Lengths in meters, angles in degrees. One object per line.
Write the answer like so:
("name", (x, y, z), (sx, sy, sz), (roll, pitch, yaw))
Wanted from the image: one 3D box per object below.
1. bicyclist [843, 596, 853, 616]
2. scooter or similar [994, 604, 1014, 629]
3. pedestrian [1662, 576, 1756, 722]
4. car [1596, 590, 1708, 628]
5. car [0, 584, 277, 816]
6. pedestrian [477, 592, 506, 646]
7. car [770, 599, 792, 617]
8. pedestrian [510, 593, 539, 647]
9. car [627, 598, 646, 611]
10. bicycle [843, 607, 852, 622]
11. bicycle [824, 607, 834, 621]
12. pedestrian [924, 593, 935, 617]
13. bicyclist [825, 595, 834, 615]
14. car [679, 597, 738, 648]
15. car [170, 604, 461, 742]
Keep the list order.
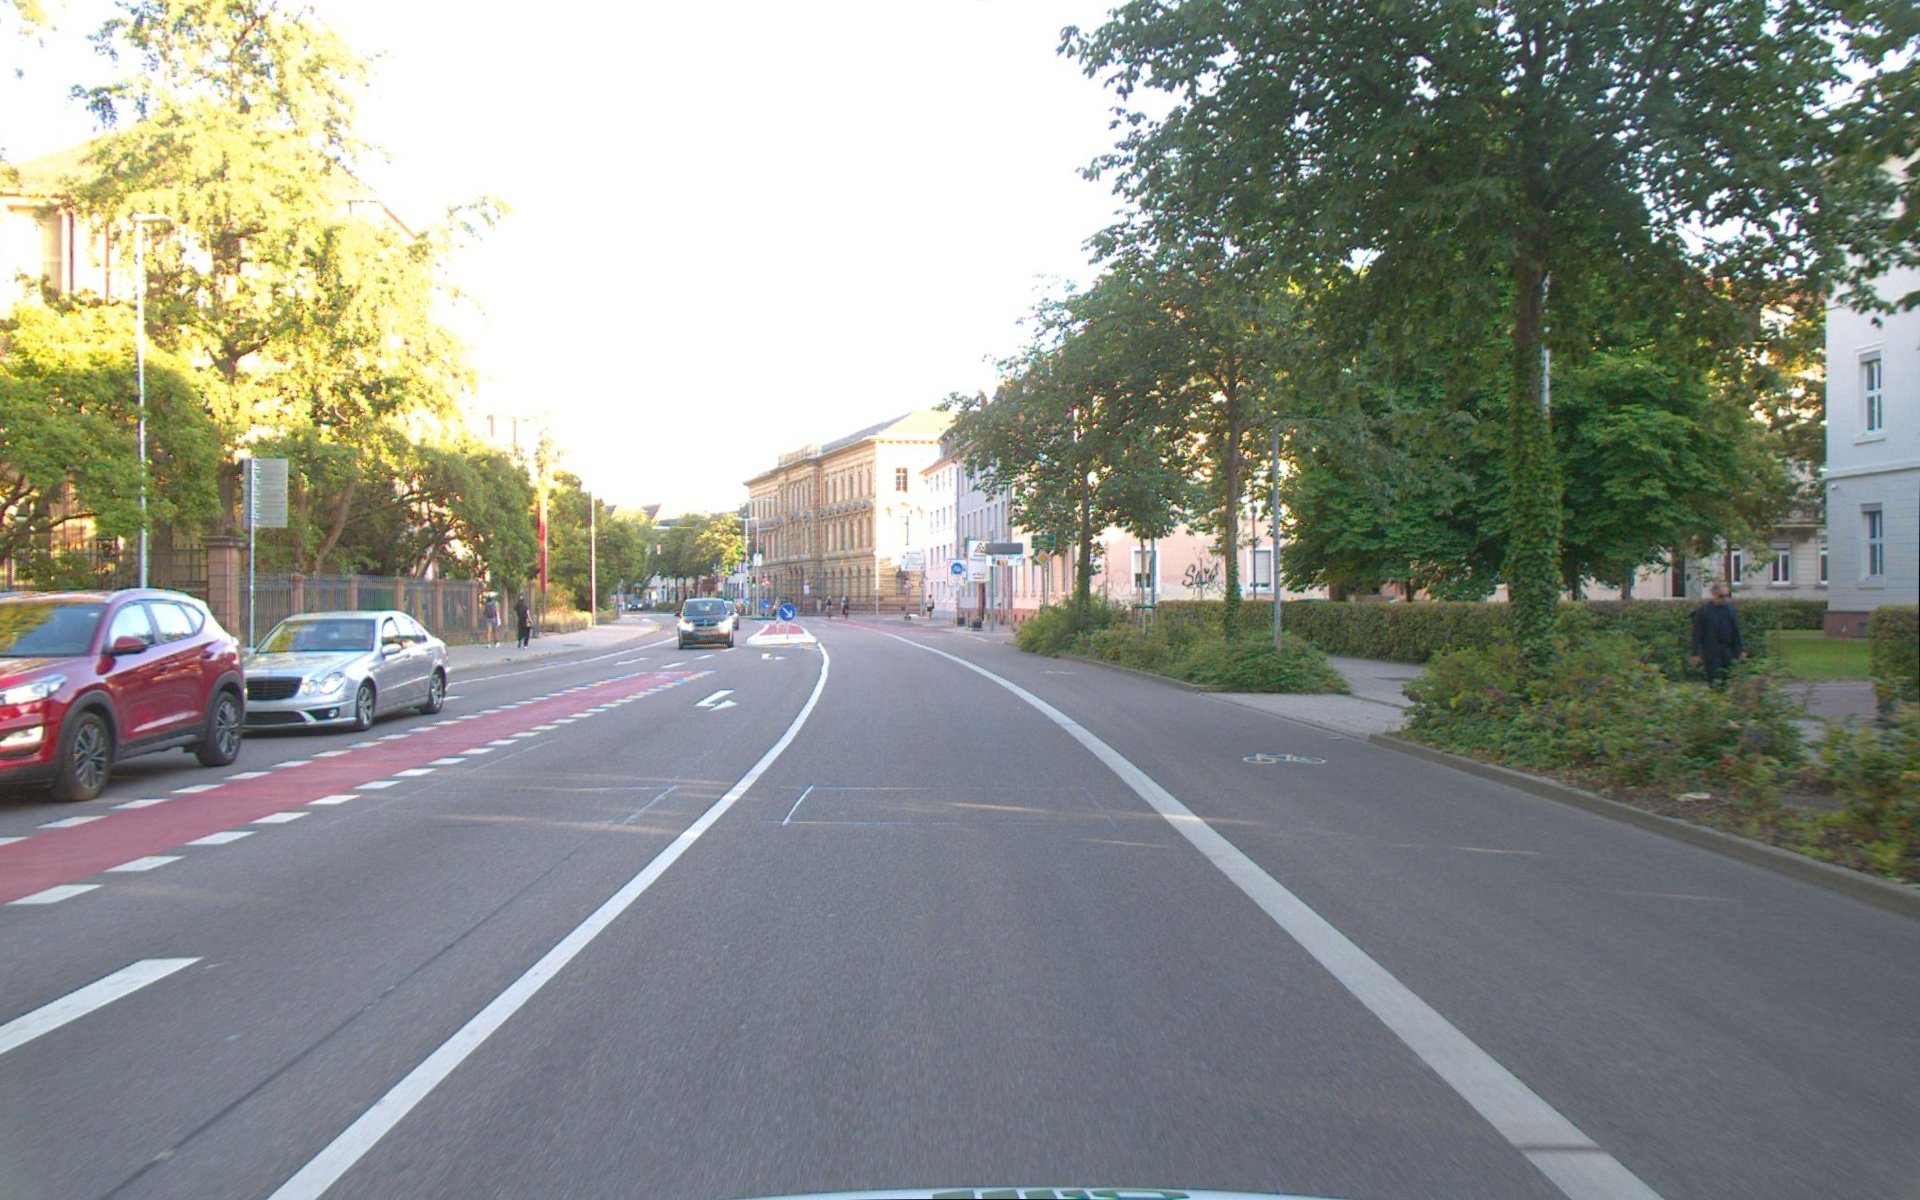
("bicyclist", (-8.423, 0.464, 124.450), (0.639, 1.501, 0.940), (2, 0, -5))
("scooter or similar", (2.513, 0.926, 94.053), (0.618, 1.360, 2.394), (0, 0, -11))
("pedestrian", (9.267, 0.591, 20.480), (0.755, 1.769, 0.806), (0, 0, -7))
("car", (30.811, 0.388, 73.688), (4.155, 1.507, 1.871), (-2, 0, 0))
("car", (-7.721, 0.745, 14.151), (1.878, 1.653, 4.637), (-2, 0, -2))
("pedestrian", (-14.620, 0.588, 51.609), (0.666, 1.651, 0.689), (0, 0, 2))
("car", (-15.661, 0.700, 144.547), (1.832, 1.536, 3.993), (1, 0, -8))
("pedestrian", (-13.573, 0.620, 51.552), (0.666, 1.651, 0.689), (0, 0, 6))
("car", (-40.423, 0.539, 206.650), (1.955, 1.613, 3.995), (0, 0, -5))
("bicycle", (-8.450, 1.096, 124.441), (0.639, 1.033, 2.195), (2, 0, -5))
("bicycle", (-9.828, 1.050, 124.083), (0.639, 1.033, 2.195), (2, 0, -5))
("pedestrian", (-2.268, 0.367, 122.619), (0.746, 1.785, 0.844), (0, 0, 0))
("bicyclist", (-9.812, 0.386, 124.206), (0.639, 1.471, 0.878), (2, 0, -6))
("car", (-8.258, 0.718, 54.073), (1.815, 1.553, 3.991), (-2, 0, -10))
("car", (-7.908, 0.816, 20.839), (1.878, 1.442, 4.768), (-2, 0, -2))
